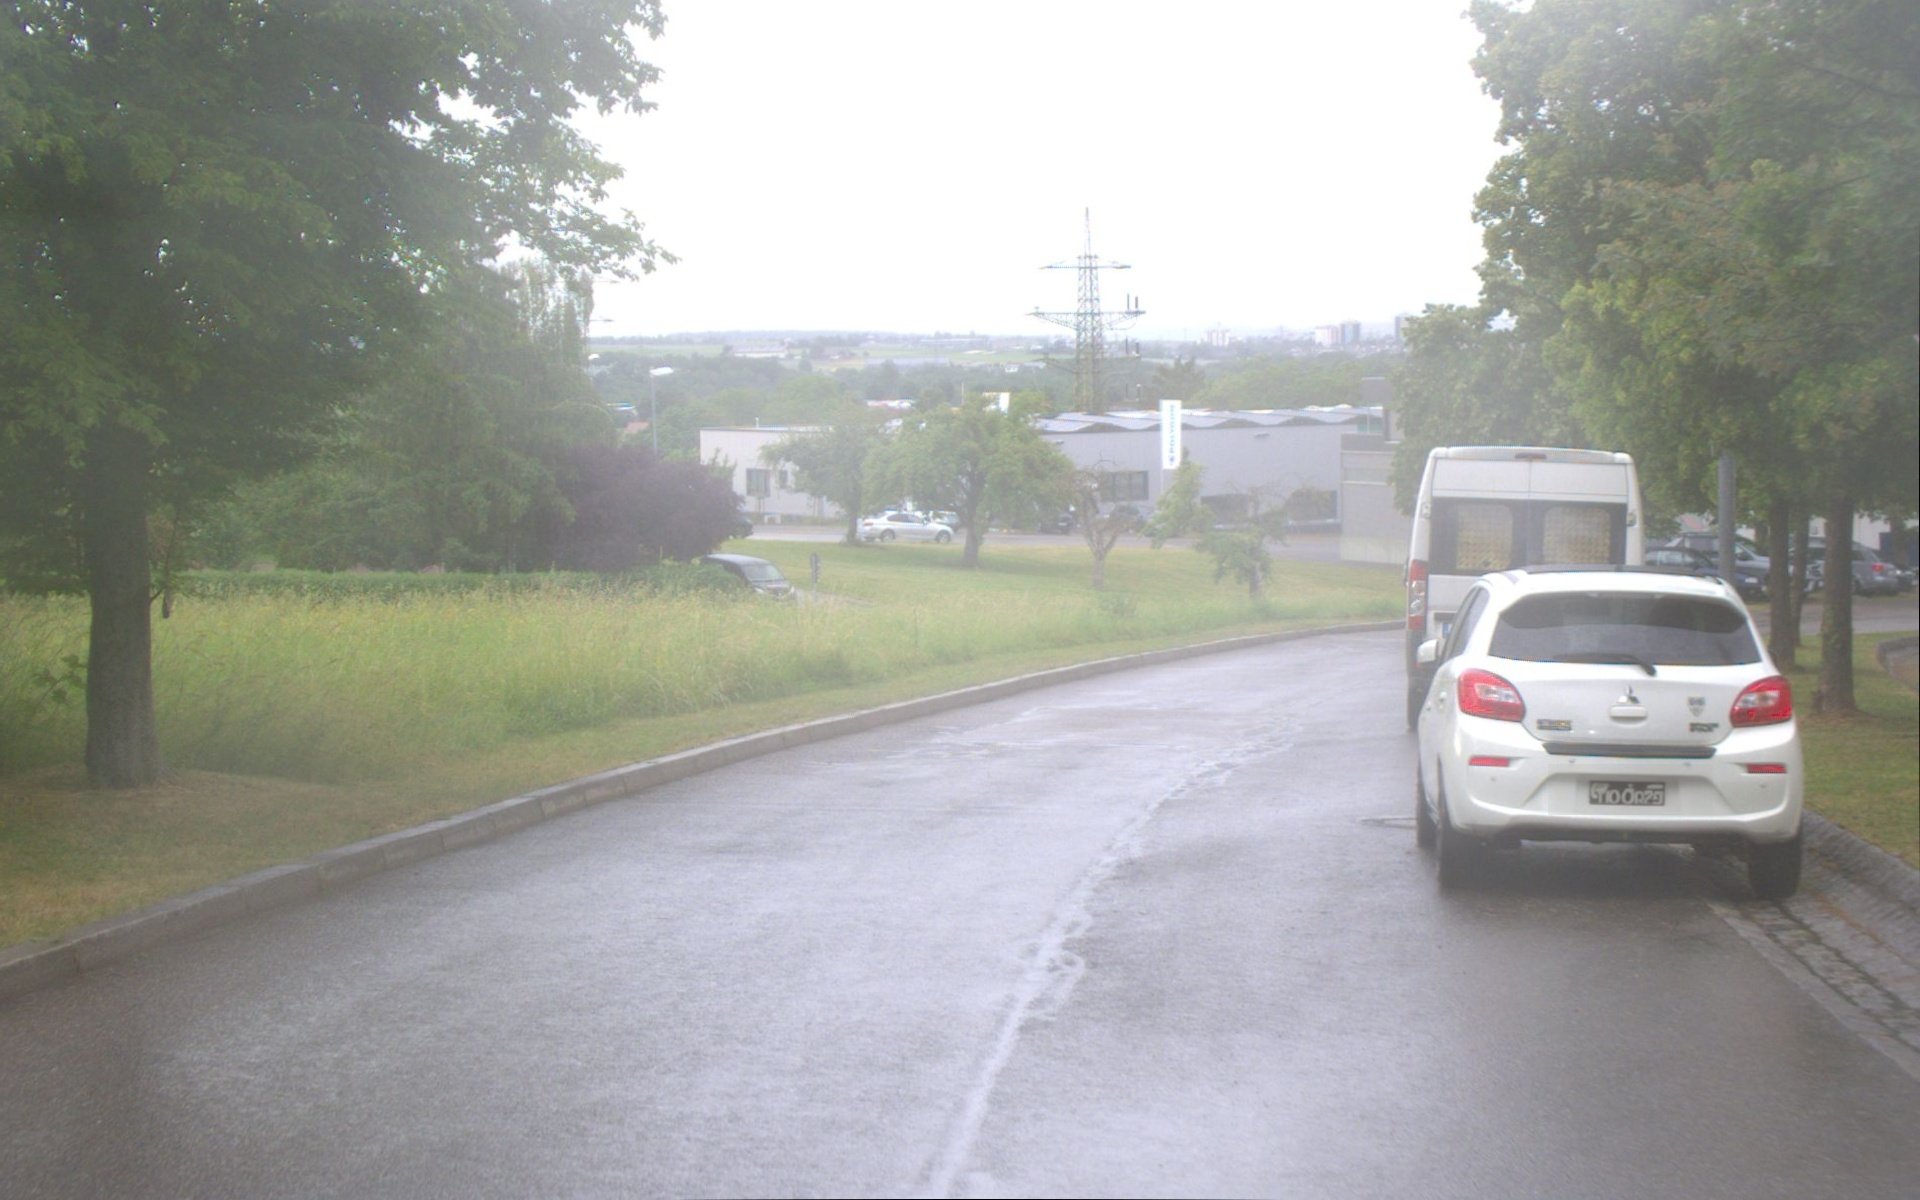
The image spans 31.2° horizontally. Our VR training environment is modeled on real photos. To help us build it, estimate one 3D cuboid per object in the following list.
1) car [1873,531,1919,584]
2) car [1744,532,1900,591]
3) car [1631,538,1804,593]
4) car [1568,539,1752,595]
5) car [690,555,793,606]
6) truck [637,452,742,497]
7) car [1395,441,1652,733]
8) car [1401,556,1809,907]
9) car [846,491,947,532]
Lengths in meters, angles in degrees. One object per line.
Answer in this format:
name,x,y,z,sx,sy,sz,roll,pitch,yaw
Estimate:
car,30.154,-1.316,105.967,3.567,1.600,1.690,0,1,29
car,23.732,-1.078,94.615,3.875,1.542,1.771,1,1,25
car,19.333,-0.882,87.719,3.992,1.356,1.851,0,1,26
car,17.490,-0.817,85.926,4.171,1.350,1.860,0,1,26
car,-7.401,-0.674,116.066,1.775,1.591,4.000,-1,3,-32
truck,-15.304,-7.077,194.322,5.310,2.301,2.436,1,4,-26
car,5.278,-0.173,32.189,2.118,2.459,5.508,1,1,10
car,3.057,0.555,16.909,1.606,1.497,3.725,1,1,5
car,-2.958,-4.141,160.878,4.261,1.696,1.798,2,4,-27
